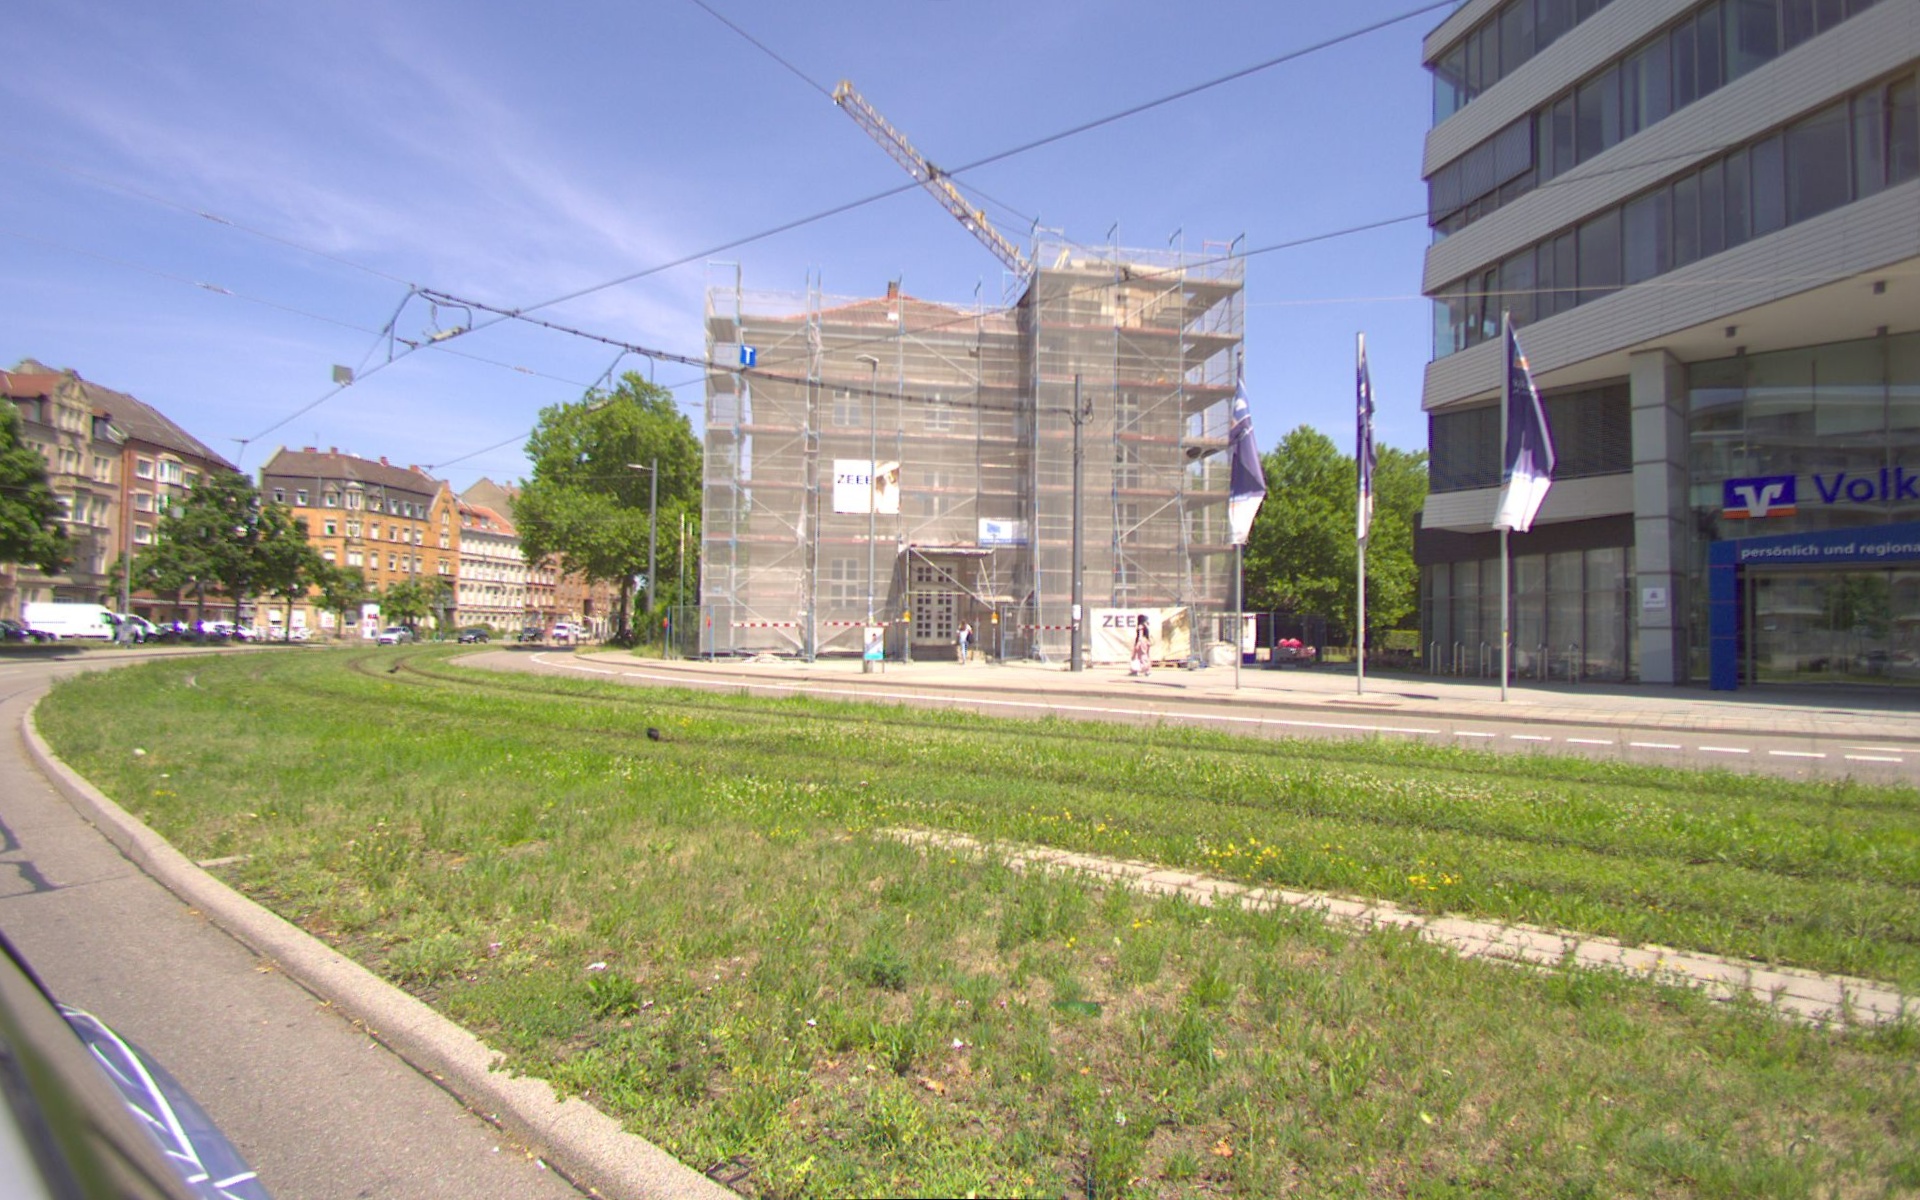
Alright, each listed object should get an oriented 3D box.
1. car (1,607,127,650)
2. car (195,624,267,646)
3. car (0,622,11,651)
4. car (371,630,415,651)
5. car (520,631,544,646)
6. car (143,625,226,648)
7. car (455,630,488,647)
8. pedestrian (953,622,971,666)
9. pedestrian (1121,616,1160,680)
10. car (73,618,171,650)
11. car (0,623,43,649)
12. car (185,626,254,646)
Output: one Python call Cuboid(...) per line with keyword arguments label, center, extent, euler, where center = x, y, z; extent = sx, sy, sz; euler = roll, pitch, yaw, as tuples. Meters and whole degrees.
Cuboid(label="car", center=(-53.763, 1.707, 60.820), extent=(2.238, 2.479, 5.473), euler=(-3, -3, 43))
Cuboid(label="car", center=(-55.793, 2.697, 77.585), extent=(4.338, 1.644, 2.006), euler=(0, -2, -32))
Cuboid(label="car", center=(-50.360, 1.854, 50.211), extent=(1.972, 1.438, 4.626), euler=(-3, -3, 43))
Cuboid(label="car", center=(-44.542, 3.159, 79.614), extent=(1.772, 1.586, 4.007), euler=(0, -2, -9))
Cuboid(label="car", center=(-48.761, 4.389, 115.352), extent=(1.772, 1.586, 4.009), euler=(0, -2, -12))
Cuboid(label="car", center=(-54.648, 2.579, 71.429), extent=(4.556, 1.508, 1.970), euler=(1, -2, -34))
Cuboid(label="car", center=(-47.090, 3.732, 97.569), extent=(1.772, 1.586, 4.007), euler=(0, -2, -9))
Cuboid(label="pedestrian", center=(0.065, 1.514, 34.912), extent=(0.573, 1.530, 0.589), euler=(-1, -2, 3))
Cuboid(label="pedestrian", center=(4.773, 1.268, 26.778), extent=(0.908, 1.643, 0.745), euler=(-1, -2, 18))
Cuboid(label="car", center=(-53.633, 2.166, 64.884), extent=(4.771, 1.988, 2.080), euler=(1, -2, -39))
Cuboid(label="car", center=(-51.527, 1.903, 53.478), extent=(1.972, 1.349, 4.369), euler=(-3, -3, 43))
Cuboid(label="car", center=(-54.606, 2.667, 74.736), extent=(3.932, 1.410, 1.829), euler=(0, -2, -31))
